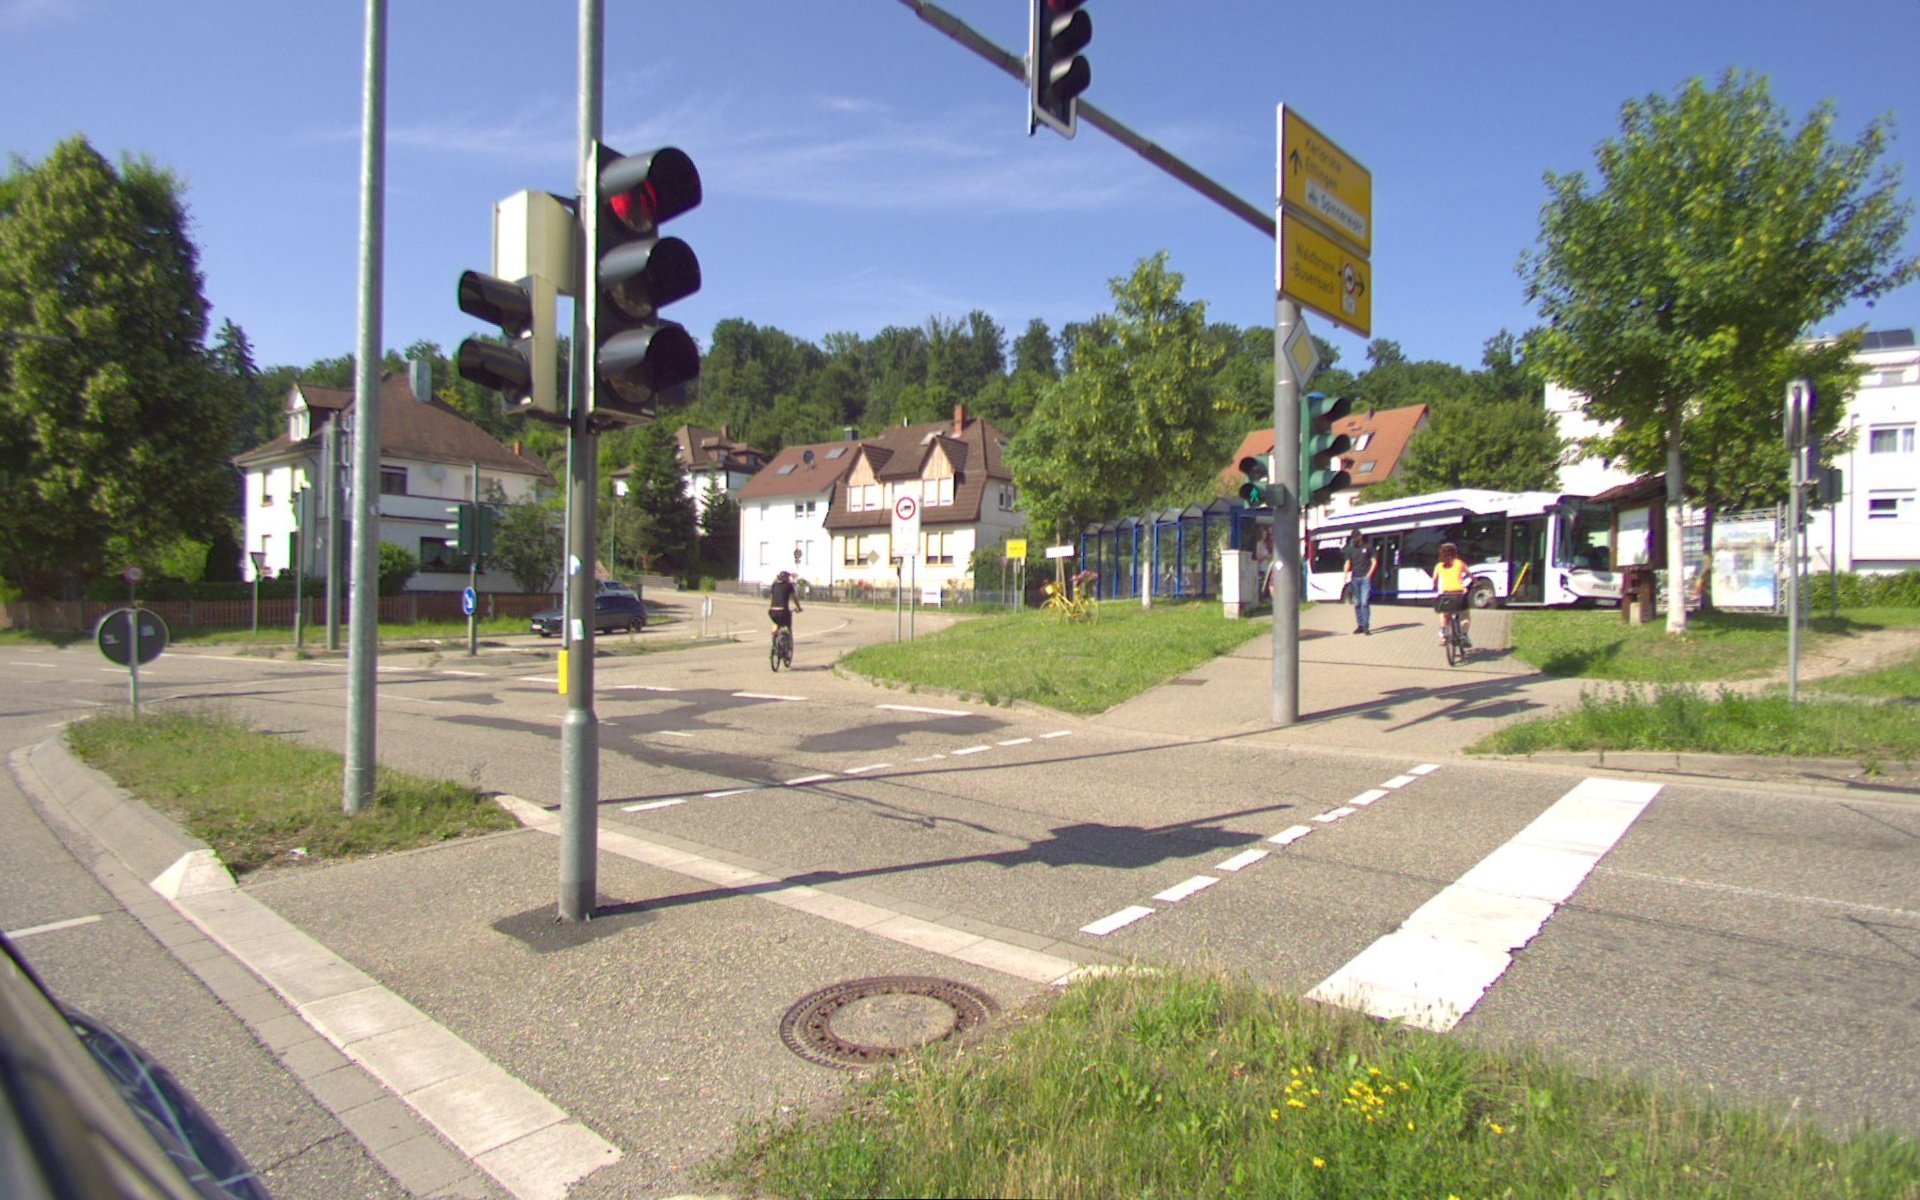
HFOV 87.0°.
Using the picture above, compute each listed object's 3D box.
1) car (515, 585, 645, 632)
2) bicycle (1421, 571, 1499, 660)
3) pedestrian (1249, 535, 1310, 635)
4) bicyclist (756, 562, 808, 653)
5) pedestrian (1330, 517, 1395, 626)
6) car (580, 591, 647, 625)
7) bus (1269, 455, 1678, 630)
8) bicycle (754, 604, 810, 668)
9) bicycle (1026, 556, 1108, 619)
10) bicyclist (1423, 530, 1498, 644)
[{"bbox_3d":[-13.425,0.285,35.948,1.991,1.519,3.961,-2,0,29],"label":"car"},{"bbox_3d":[7.312,0.198,14.740,0.733,1.072,1.951,-2,4,34],"label":"bicycle"},{"bbox_3d":[5.588,-0.251,17.687,0.741,1.690,0.703,-2,0,41],"label":"pedestrian"},{"bbox_3d":[-3.473,0.141,19.808,0.795,1.704,0.993,-2,0,-1],"label":"bicyclist"},{"bbox_3d":[7.278,-0.513,18.285,0.856,1.922,0.731,-1,3,40],"label":"pedestrian"},{"bbox_3d":[-18.788,0.449,54.782,1.911,1.649,4.004,-2,0,-43],"label":"car"},{"bbox_3d":[13.110,-1.222,28.101,2.822,3.742,12.249,-2,0,-13],"label":"bus"},{"bbox_3d":[-3.451,0.671,19.797,0.724,1.171,2.000,-2,0,0],"label":"bicycle"},{"bbox_3d":[2.394,-0.267,22.795,0.611,1.265,1.758,-6,1,-43],"label":"bicycle"},{"bbox_3d":[7.281,-0.186,14.715,0.805,1.576,0.946,-3,0,34],"label":"bicyclist"}]
